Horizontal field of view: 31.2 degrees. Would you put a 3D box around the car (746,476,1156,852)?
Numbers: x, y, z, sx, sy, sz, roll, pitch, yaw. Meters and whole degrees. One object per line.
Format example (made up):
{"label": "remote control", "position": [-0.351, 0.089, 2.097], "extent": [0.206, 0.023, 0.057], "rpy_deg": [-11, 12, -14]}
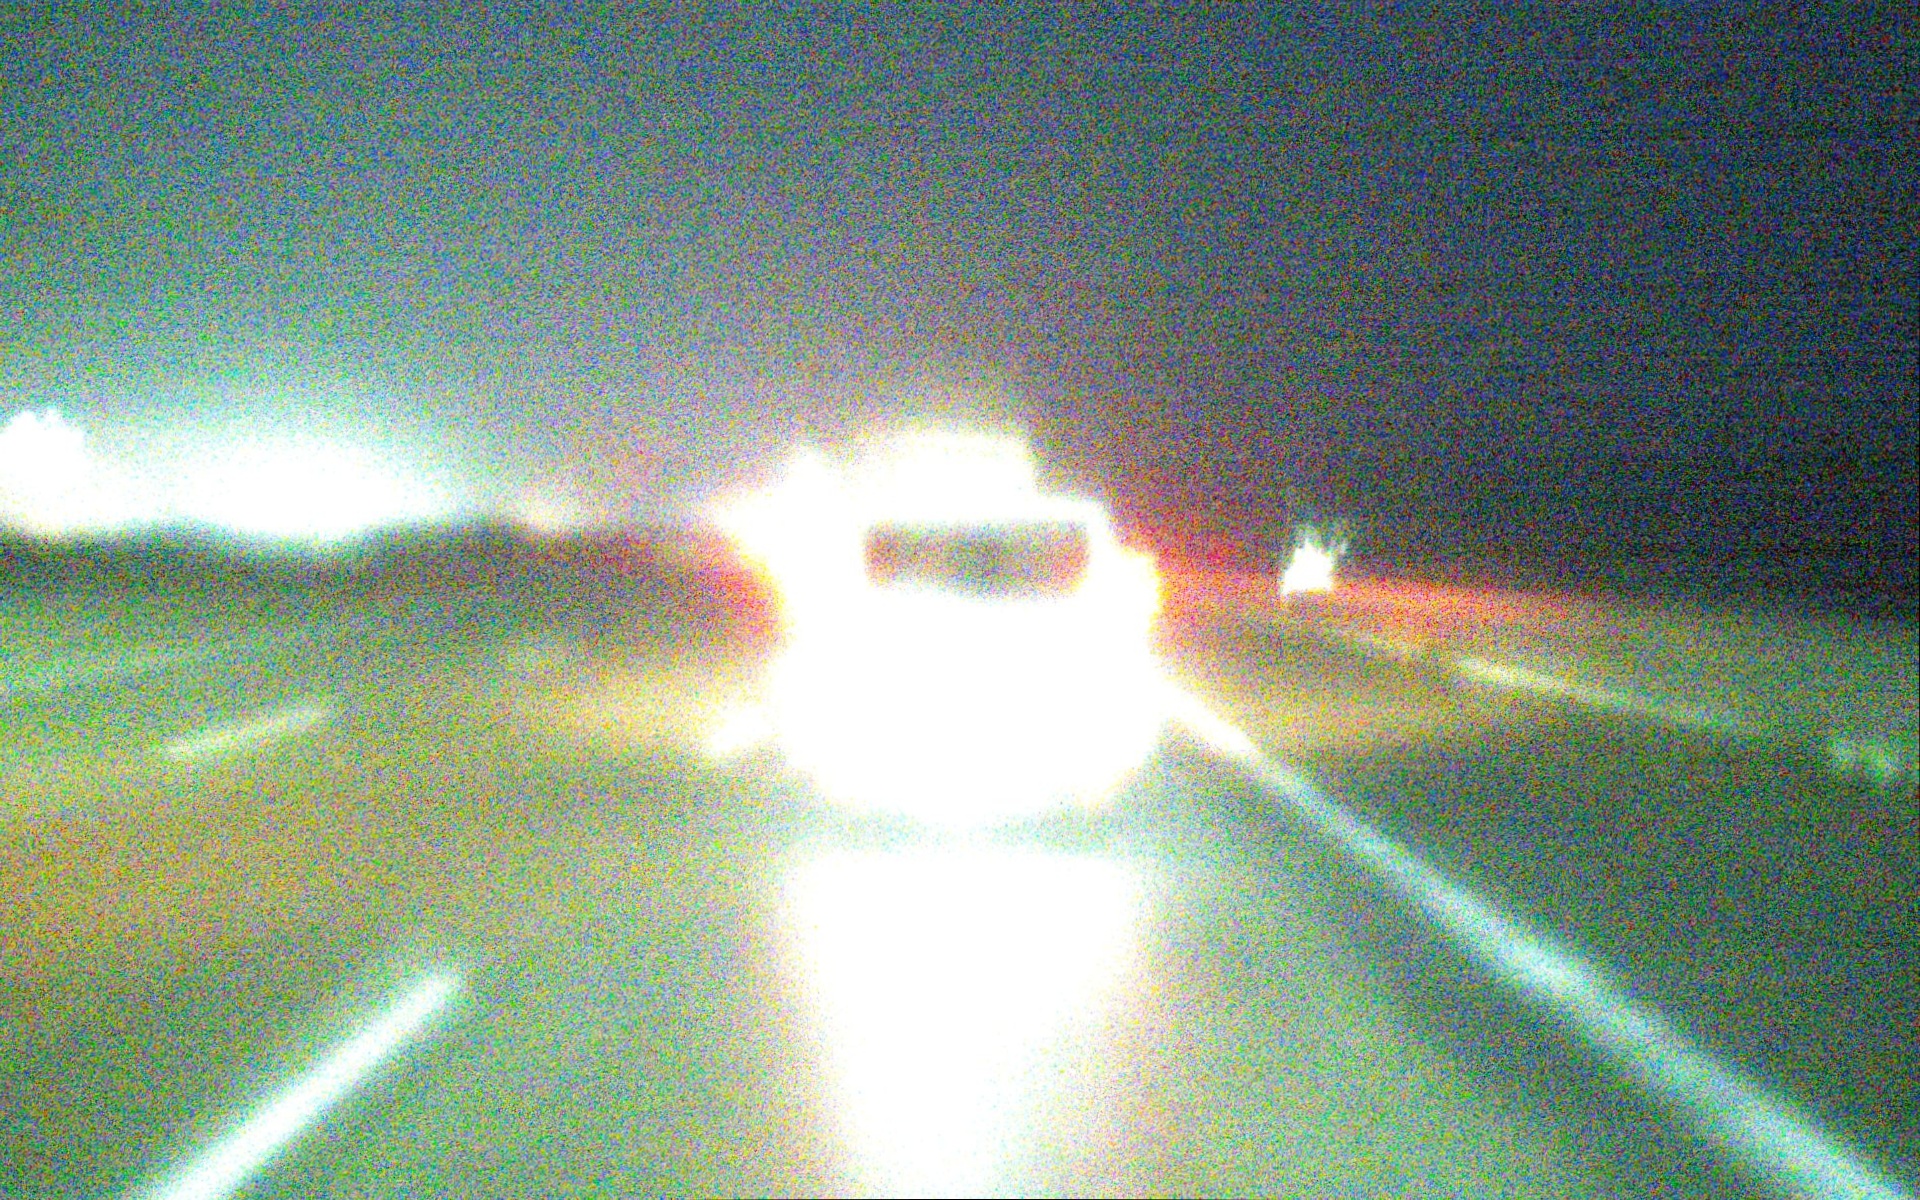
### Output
{"label": "car", "position": [-0.081, 0.289, 19.196], "extent": [1.953, 1.786, 5.124], "rpy_deg": [1, 0, -1]}

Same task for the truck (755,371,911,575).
{"label": "truck", "position": [-3.565, -3.540, 100.664], "extent": [4.167, 5.525, 13.075], "rpy_deg": [1, 0, -1]}

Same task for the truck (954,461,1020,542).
{"label": "truck", "position": [1.680, -6.271, 221.061], "extent": [3.824, 4.898, 11.607], "rpy_deg": [1, 1, -1]}
